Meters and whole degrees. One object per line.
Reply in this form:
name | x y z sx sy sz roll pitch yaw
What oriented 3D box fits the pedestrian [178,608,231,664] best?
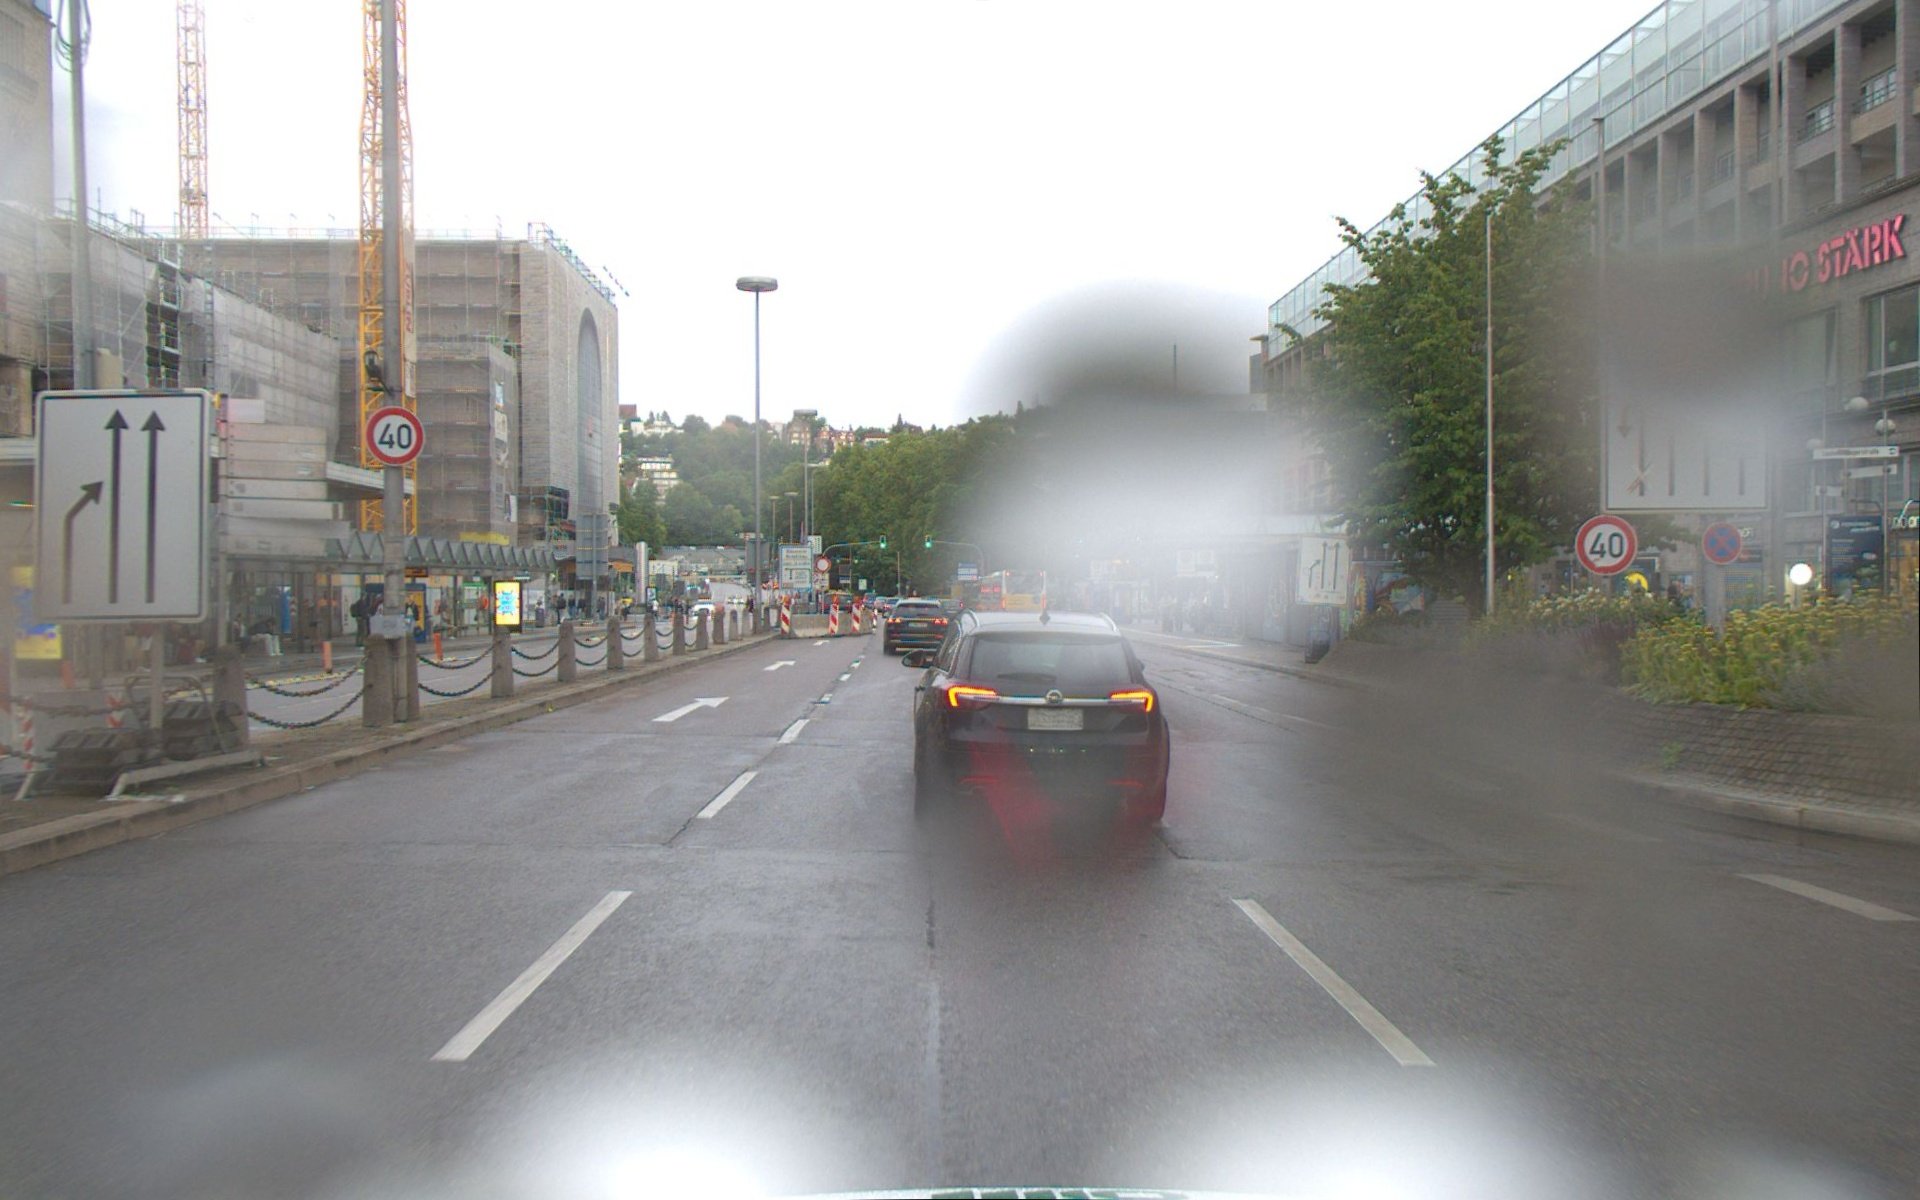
pedestrian | -19.776 0.937 43.315 1.034 1.457 0.830 0 0 -4

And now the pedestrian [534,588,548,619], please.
pedestrian | -25.653 0.190 101.195 0.706 1.873 0.612 0 0 1

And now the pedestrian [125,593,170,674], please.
pedestrian | -18.559 0.751 37.781 0.710 1.821 0.746 0 0 -8

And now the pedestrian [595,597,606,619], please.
pedestrian | -26.930 0.565 123.871 0.662 1.642 0.838 0 0 -1

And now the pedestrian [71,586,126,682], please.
pedestrian | -18.133 0.712 34.821 0.744 1.993 0.822 0 -1 -5

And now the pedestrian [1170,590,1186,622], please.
pedestrian | 11.740 0.331 88.938 0.733 1.724 0.902 0 0 0

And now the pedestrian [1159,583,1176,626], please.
pedestrian | 9.060 0.188 72.388 0.662 1.869 0.574 0 0 -1

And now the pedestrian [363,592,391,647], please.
pedestrian | -19.315 0.638 54.788 0.772 1.821 0.666 0 0 -30

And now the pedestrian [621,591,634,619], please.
pedestrian | -22.817 0.329 113.501 0.861 1.873 0.835 0 0 -17

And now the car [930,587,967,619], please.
car | -0.693 0.174 95.604 1.816 1.747 3.995 1 0 -5

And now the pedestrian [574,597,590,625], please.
pedestrian | -25.449 0.744 111.274 0.822 1.873 1.058 0 0 1

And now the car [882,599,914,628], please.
car | -4.513 0.954 119.680 1.946 2.049 4.363 1 0 -6

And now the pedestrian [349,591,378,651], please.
pedestrian | -18.921 0.661 52.471 0.548 1.880 0.673 0 0 43

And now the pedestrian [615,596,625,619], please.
pedestrian | -25.704 0.580 124.935 0.670 1.715 0.835 0 0 -17

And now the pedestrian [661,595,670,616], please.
pedestrian | -25.715 0.481 144.523 0.684 1.873 0.877 1 -1 -5

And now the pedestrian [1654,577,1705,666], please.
pedestrian | 14.541 0.432 33.442 0.600 1.782 0.868 0 0 -4

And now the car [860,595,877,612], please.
car | -9.382 0.415 169.694 1.671 1.694 3.704 1 0 -2

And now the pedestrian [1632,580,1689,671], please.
pedestrian | 13.898 0.501 32.825 0.627 1.782 1.075 0 0 -4

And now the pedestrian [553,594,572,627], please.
pedestrian | -22.893 0.611 95.311 0.688 1.873 0.877 0 0 26

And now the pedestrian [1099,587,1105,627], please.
pedestrian | 6.771 0.330 78.967 0.238 1.869 0.512 0 0 1

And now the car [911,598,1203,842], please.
car | 0.566 0.759 12.848 1.839 1.534 4.850 0 0 -1

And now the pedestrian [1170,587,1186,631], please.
pedestrian | 9.405 0.378 71.305 0.614 1.869 0.641 0 0 -1

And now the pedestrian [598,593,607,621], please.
pedestrian | -24.822 0.484 114.683 0.561 1.873 0.701 0 0 -17

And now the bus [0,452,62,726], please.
bus | -14.209 -0.132 13.969 2.850 3.640 19.076 -1 0 0

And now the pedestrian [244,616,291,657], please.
pedestrian | -20.120 1.055 48.078 0.930 1.178 1.054 0 0 -2

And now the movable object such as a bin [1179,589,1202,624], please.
movable object such as a bin | 11.193 0.298 80.362 0.654 1.681 1.040 0 0 -25

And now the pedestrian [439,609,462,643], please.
pedestrian | -20.402 1.054 66.256 0.685 1.349 0.805 0 0 -4

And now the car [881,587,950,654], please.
car | -1.223 0.531 45.161 1.793 1.715 4.132 0 0 -2

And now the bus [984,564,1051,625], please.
bus | 3.221 -0.249 95.159 3.078 3.304 9.130 1 0 -3

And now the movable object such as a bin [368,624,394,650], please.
movable object such as a bin | -18.556 1.183 53.022 0.502 0.803 0.630 -2 -1 42

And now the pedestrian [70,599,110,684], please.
pedestrian | -18.846 0.891 35.848 0.546 1.821 0.803 0 0 -11

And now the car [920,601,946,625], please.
car | -1.875 0.865 113.101 1.641 1.609 3.237 1 0 -4

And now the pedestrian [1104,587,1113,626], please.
pedestrian | 7.085 0.312 78.931 0.339 1.869 0.533 0 0 1

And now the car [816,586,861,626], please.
car | -5.949 0.278 81.565 1.953 1.895 4.831 -1 0 -1

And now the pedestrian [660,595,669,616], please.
pedestrian | -25.667 0.483 143.808 0.684 1.873 0.528 0 0 -5

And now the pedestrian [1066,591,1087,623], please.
pedestrian | 6.207 0.369 87.917 0.749 1.720 0.992 0 0 -23

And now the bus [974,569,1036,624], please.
bus | 2.751 -0.163 104.310 3.051 3.261 9.235 1 0 -3

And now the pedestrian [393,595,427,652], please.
pedestrian | -17.810 0.759 53.558 0.759 1.821 0.861 0 0 4

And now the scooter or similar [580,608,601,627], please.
scooter or similar | -21.678 1.039 96.972 0.450 1.084 1.237 0 0 32

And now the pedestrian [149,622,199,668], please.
pedestrian | -19.621 1.113 41.304 0.827 1.112 0.925 0 0 -4

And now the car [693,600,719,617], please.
car | -23.449 0.780 152.694 1.954 1.493 3.998 1 0 -3

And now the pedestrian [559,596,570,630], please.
pedestrian | -21.927 0.706 91.702 0.498 1.873 0.703 0 0 -9

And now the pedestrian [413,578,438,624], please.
pedestrian | -21.937 0.020 67.890 0.729 1.873 0.702 0 0 17

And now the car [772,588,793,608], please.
car | -18.560 -0.218 173.056 1.956 2.049 5.359 1 0 -8

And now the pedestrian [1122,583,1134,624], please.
pedestrian | 9.263 0.216 91.212 0.578 2.254 0.587 0 0 -1
